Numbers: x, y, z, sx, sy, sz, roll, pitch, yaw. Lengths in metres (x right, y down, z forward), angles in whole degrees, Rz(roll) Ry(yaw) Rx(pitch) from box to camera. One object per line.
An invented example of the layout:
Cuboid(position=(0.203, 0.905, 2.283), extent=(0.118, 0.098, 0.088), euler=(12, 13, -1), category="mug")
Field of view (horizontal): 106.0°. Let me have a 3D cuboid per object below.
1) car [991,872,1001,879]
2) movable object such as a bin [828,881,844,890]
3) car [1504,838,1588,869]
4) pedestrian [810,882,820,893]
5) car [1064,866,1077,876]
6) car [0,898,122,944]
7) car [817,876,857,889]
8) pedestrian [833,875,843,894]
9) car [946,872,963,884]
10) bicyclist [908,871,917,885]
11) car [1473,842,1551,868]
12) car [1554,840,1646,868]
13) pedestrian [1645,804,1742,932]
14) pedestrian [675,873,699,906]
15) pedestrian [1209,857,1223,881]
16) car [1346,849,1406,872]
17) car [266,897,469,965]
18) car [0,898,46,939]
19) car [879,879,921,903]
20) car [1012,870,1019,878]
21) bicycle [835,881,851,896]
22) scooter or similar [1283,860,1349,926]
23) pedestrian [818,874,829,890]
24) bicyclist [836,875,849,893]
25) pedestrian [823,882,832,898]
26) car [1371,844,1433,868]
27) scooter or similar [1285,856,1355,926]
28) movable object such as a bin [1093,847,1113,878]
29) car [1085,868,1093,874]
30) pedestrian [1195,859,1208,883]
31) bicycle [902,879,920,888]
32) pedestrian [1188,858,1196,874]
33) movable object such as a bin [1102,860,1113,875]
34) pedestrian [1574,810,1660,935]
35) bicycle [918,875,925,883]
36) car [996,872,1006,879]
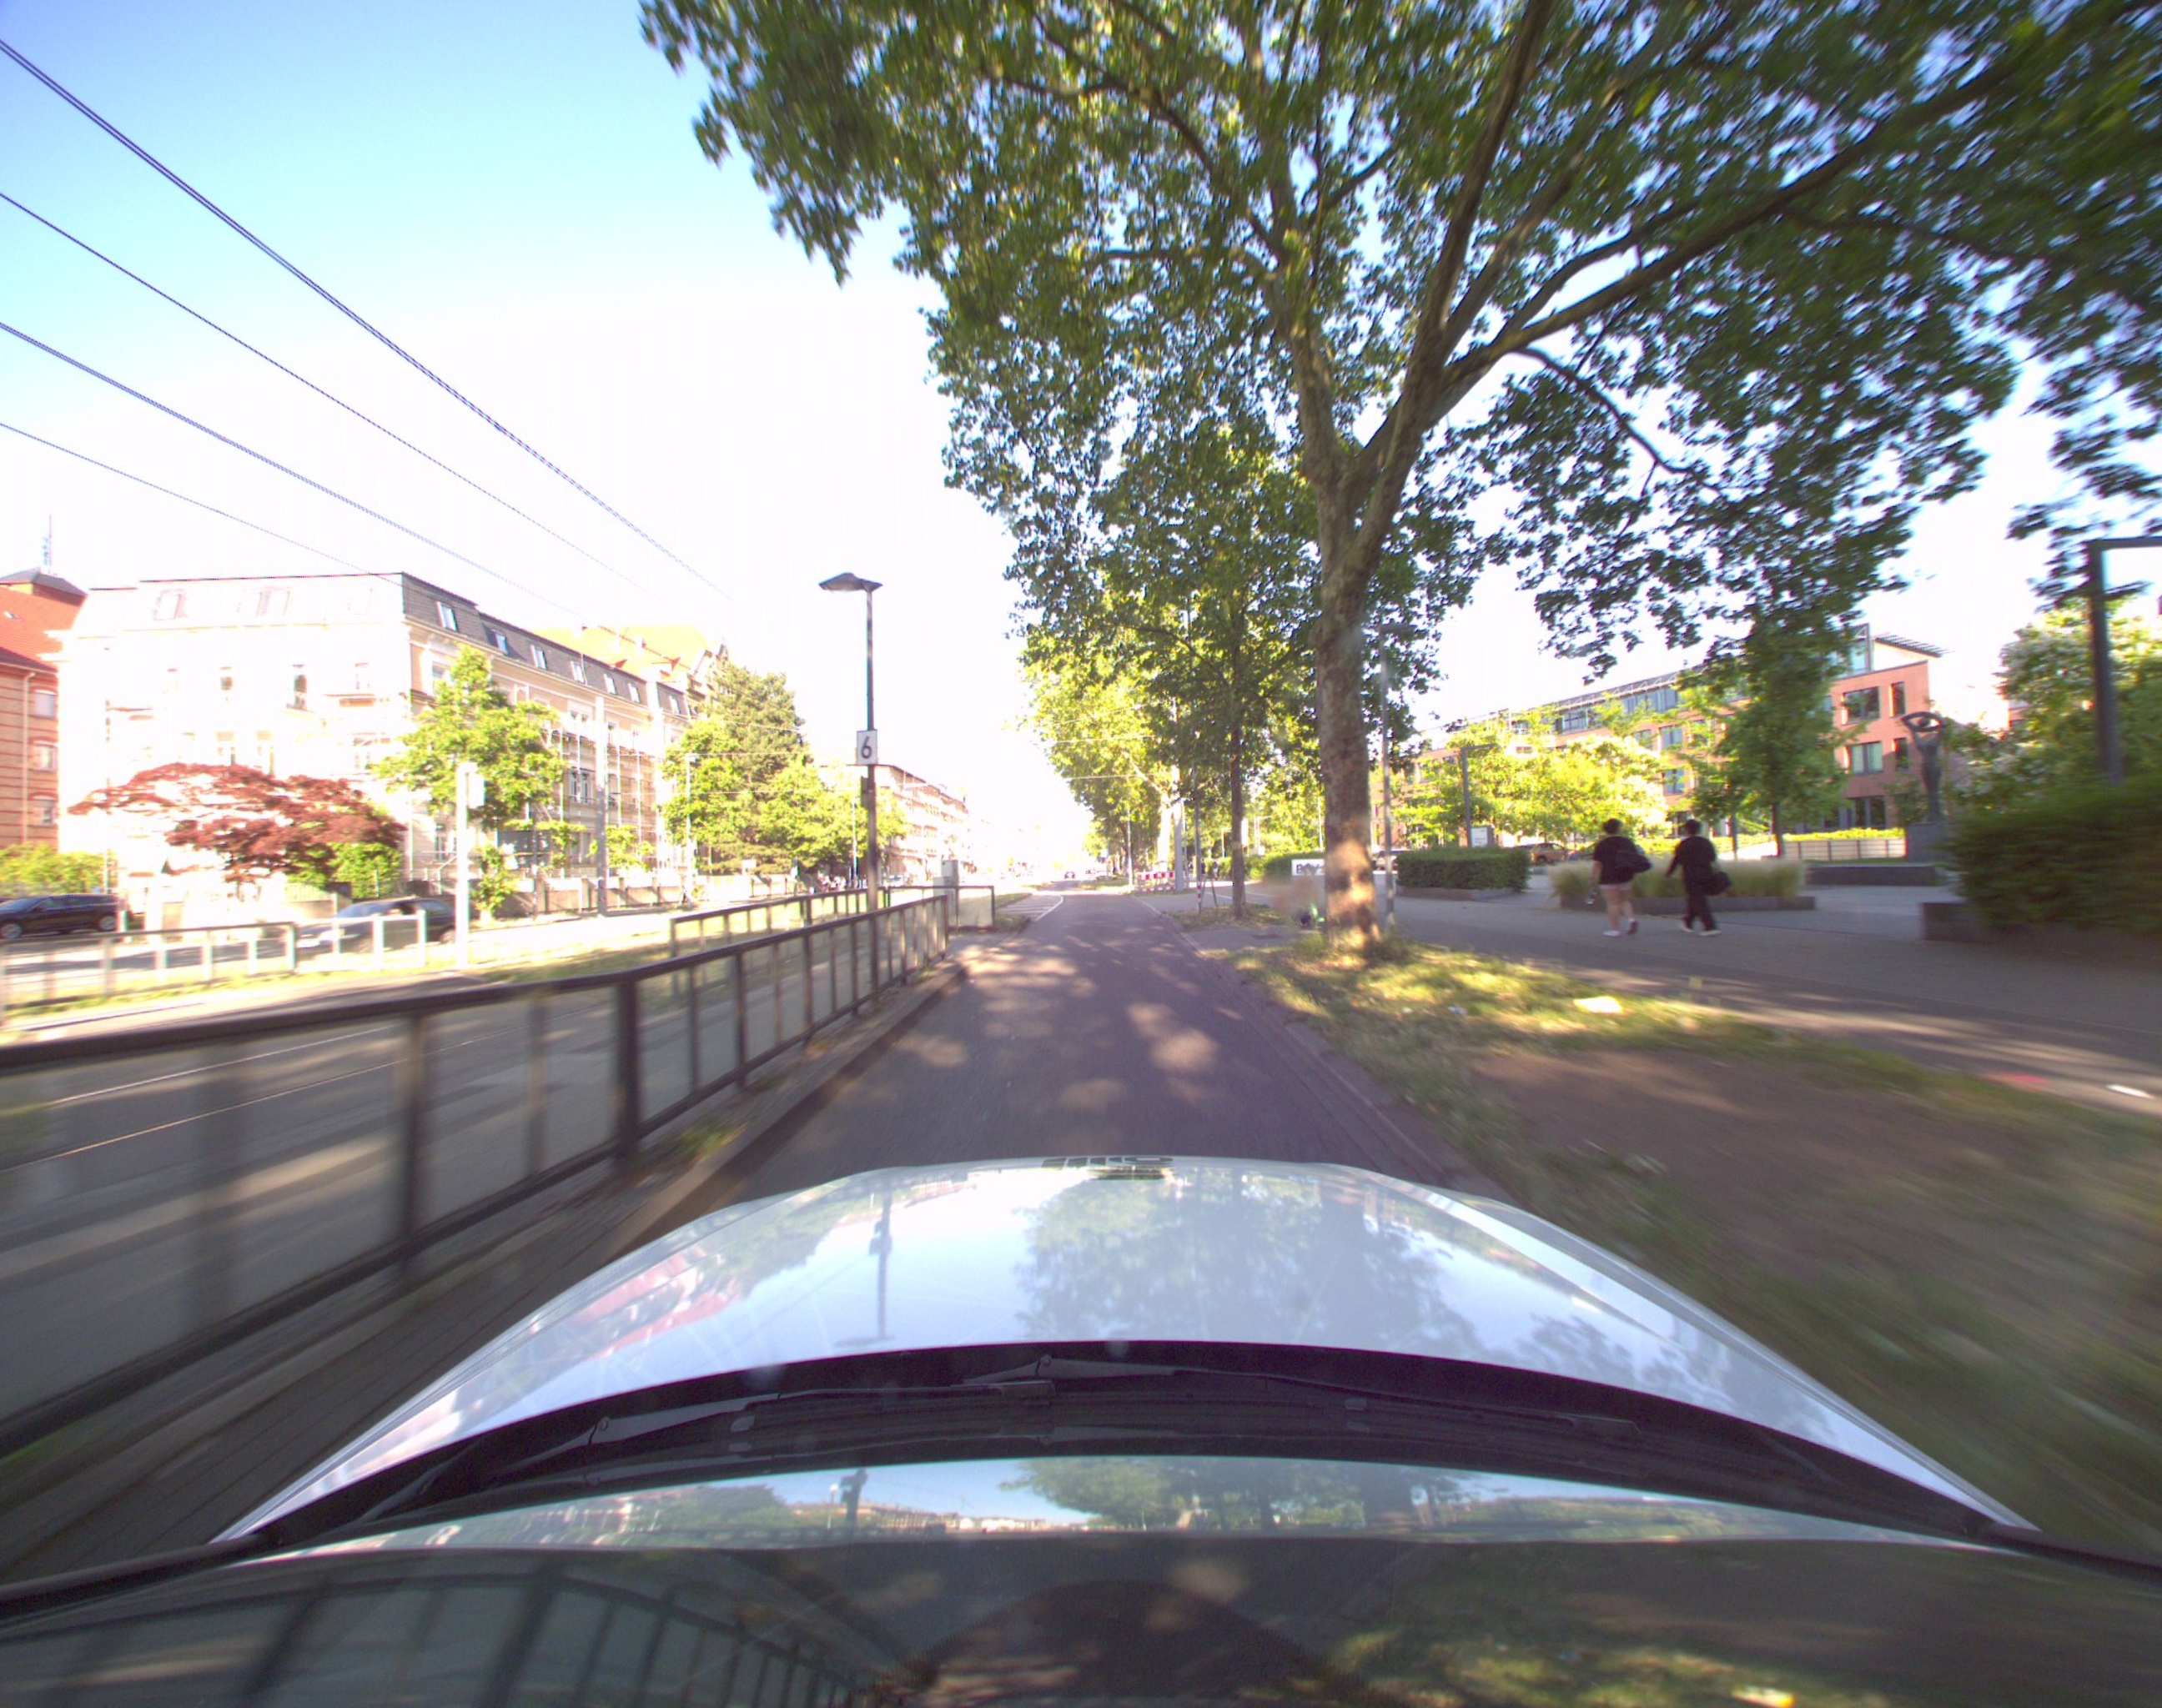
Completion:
Cuboid(position=(-19.096, 4.865, 182.276), extent=(1.735, 1.561, 3.768), euler=(0, 0, 1), category="car")
Cuboid(position=(-24.780, 3.217, 82.313), extent=(1.241, 0.865, 1.236), euler=(0, -2, -1), category="movable object such as a bin")
Cuboid(position=(30.182, -0.041, 52.842), extent=(4.684, 1.713, 2.060), euler=(-3, 0, -18), category="car")
Cuboid(position=(-23.660, 3.003, 72.525), extent=(0.648, 0.932, 0.584), euler=(-3, -1, -3), category="pedestrian")
Cuboid(position=(-1.778, 2.930, 138.333), extent=(1.986, 1.684, 4.001), euler=(0, -1, 1), category="car")
Cuboid(position=(-36.745, 2.327, 28.535), extent=(1.600, 1.408, 3.852), euler=(0, -1, 1), category="car")
Cuboid(position=(-27.486, 3.192, 91.793), extent=(4.138, 1.471, 2.012), euler=(-2, -2, 30), category="car")
Cuboid(position=(-23.025, 2.887, 77.095), extent=(0.648, 1.775, 0.888), euler=(-3, -1, 0), category="pedestrian")
Cuboid(position=(-20.497, 3.831, 132.118), extent=(2.008, 1.754, 4.558), euler=(0, 0, 1), category="car")
Cuboid(position=(-20.793, 2.966, 100.457), extent=(0.917, 1.715, 0.766), euler=(-2, 4, -4), category="bicyclist")
Cuboid(position=(29.243, 0.063, 55.266), extent=(4.684, 1.466, 1.951), euler=(-3, 0, -18), category="car")
Cuboid(position=(30.716, 0.020, 48.180), extent=(4.684, 1.485, 2.060), euler=(-2, -1, -18), category="car")
Cuboid(position=(8.395, 0.191, 11.196), extent=(0.647, 1.656, 0.783), euler=(-3, -1, 1), category="pedestrian")
Cuboid(position=(-23.665, 2.119, 48.916), extent=(0.855, 1.928, 1.086), euler=(-3, -1, 0), category="pedestrian")
Cuboid(position=(10.203, 1.117, 61.686), extent=(0.802, 1.793, 1.110), euler=(-3, -1, 1), category="pedestrian")
Cuboid(position=(25.381, 0.534, 70.086), extent=(4.686, 1.713, 1.836), euler=(-3, 0, -20), category="car")
Cuboid(position=(-17.622, 1.836, 20.386), extent=(1.600, 1.408, 3.852), euler=(0, -1, 1), category="car")
Cuboid(position=(-39.554, 2.320, 28.522), extent=(1.600, 1.408, 3.852), euler=(0, -1, 1), category="car")
Cuboid(position=(-16.044, 3.245, 72.492), extent=(1.927, 1.919, 4.484), euler=(4, -2, 10), category="car")
Cuboid(position=(-18.196, 5.449, 227.297), extent=(1.652, 2.140, 3.525), euler=(0, 0, 1), category="car")
Cuboid(position=(-19.795, 2.824, 67.638), extent=(0.772, 1.194, 1.755), euler=(0, -1, 1), category="bicycle")
Cuboid(position=(4.672, 0.767, 16.260), extent=(1.047, 1.244, 0.842), euler=(-3, -2, 3), category="scooter or similar")
Cuboid(position=(-24.592, 2.660, 77.792), extent=(0.648, 1.539, 0.783), euler=(-3, -1, 0), category="pedestrian")
Cuboid(position=(-19.790, 2.484, 67.568), extent=(0.772, 1.481, 1.134), euler=(0, -1, 1), category="bicyclist")
Cuboid(position=(-25.279, 3.605, 81.228), extent=(0.616, 1.593, 0.797), euler=(0, -1, -1), category="pedestrian")
Cuboid(position=(26.511, 0.195, 67.198), extent=(4.686, 1.713, 1.836), euler=(-3, 0, -20), category="car")
Cuboid(position=(4.499, 0.686, 15.372), extent=(1.047, 1.244, 0.842), euler=(-3, -2, 3), category="scooter or similar")
Cuboid(position=(3.868, 1.575, 145.989), extent=(3.077, 5.088, 8.892), euler=(-4, -1, 1), category="movable object such as a bin")
Cuboid(position=(2.530, 5.440, 256.838), extent=(1.990, 1.860, 3.992), euler=(0, -1, -5), category="car")
Cuboid(position=(9.071, 1.283, 61.465), extent=(0.747, 1.793, 1.086), euler=(-3, -1, 1), category="pedestrian")
Cuboid(position=(-20.984, 3.643, 100.484), extent=(1.949, 1.040, 0.766), euler=(-2, 4, -4), category="bicycle")
Cuboid(position=(10.784, 1.182, 79.333), extent=(0.647, 1.539, 0.783), euler=(-3, -1, 1), category="pedestrian")
Cuboid(position=(5.431, 2.814, 168.117), extent=(1.961, 3.013, 4.796), euler=(-5, -1, 1), category="movable object such as a bin")
Cuboid(position=(7.470, 0.257, 11.379), extent=(0.625, 1.656, 0.740), euler=(-3, -1, 1), category="pedestrian")
Cuboid(position=(-24.225, 3.837, 123.500), extent=(0.696, 1.181, 1.751), euler=(0, -1, 2), category="bicycle")
Cuboid(position=(-18.381, 4.963, 187.027), extent=(1.735, 1.561, 3.768), euler=(0, 0, 1), category="car")
